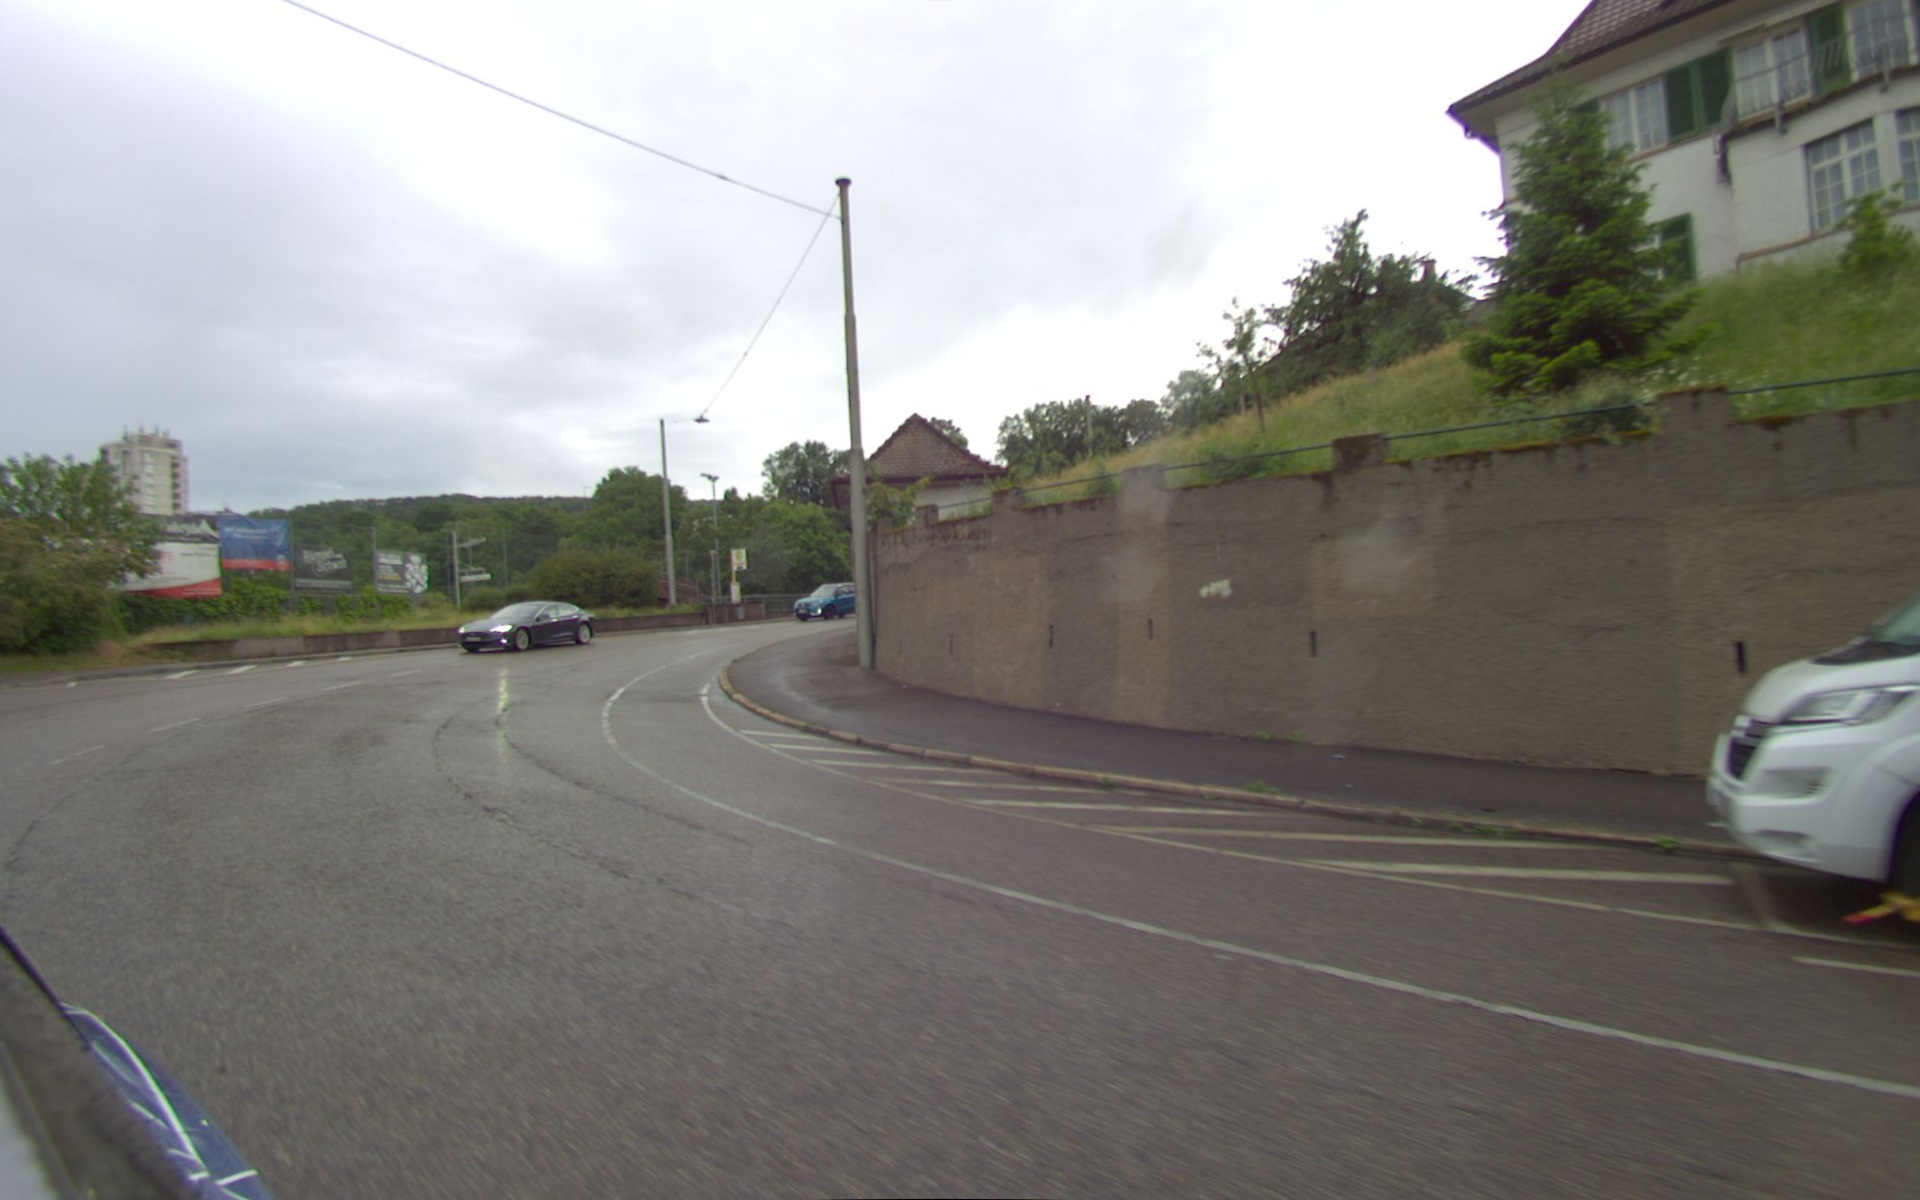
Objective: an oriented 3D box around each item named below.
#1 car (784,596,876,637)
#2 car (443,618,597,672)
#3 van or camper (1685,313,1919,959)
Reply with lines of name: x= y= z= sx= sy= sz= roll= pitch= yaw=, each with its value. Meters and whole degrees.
car: x=-5.857 y=0.753 z=45.871 sx=1.798 sy=1.622 sz=3.992 roll=-7 pitch=-5 yaw=36
car: x=-13.388 y=1.331 z=31.097 sx=1.825 sy=1.402 sz=4.290 roll=0 pitch=0 yaw=23
van or camper: x=7.271 y=0.077 z=3.849 sx=7.021 sy=2.810 sz=2.140 roll=-2 pitch=-3 yaw=30
